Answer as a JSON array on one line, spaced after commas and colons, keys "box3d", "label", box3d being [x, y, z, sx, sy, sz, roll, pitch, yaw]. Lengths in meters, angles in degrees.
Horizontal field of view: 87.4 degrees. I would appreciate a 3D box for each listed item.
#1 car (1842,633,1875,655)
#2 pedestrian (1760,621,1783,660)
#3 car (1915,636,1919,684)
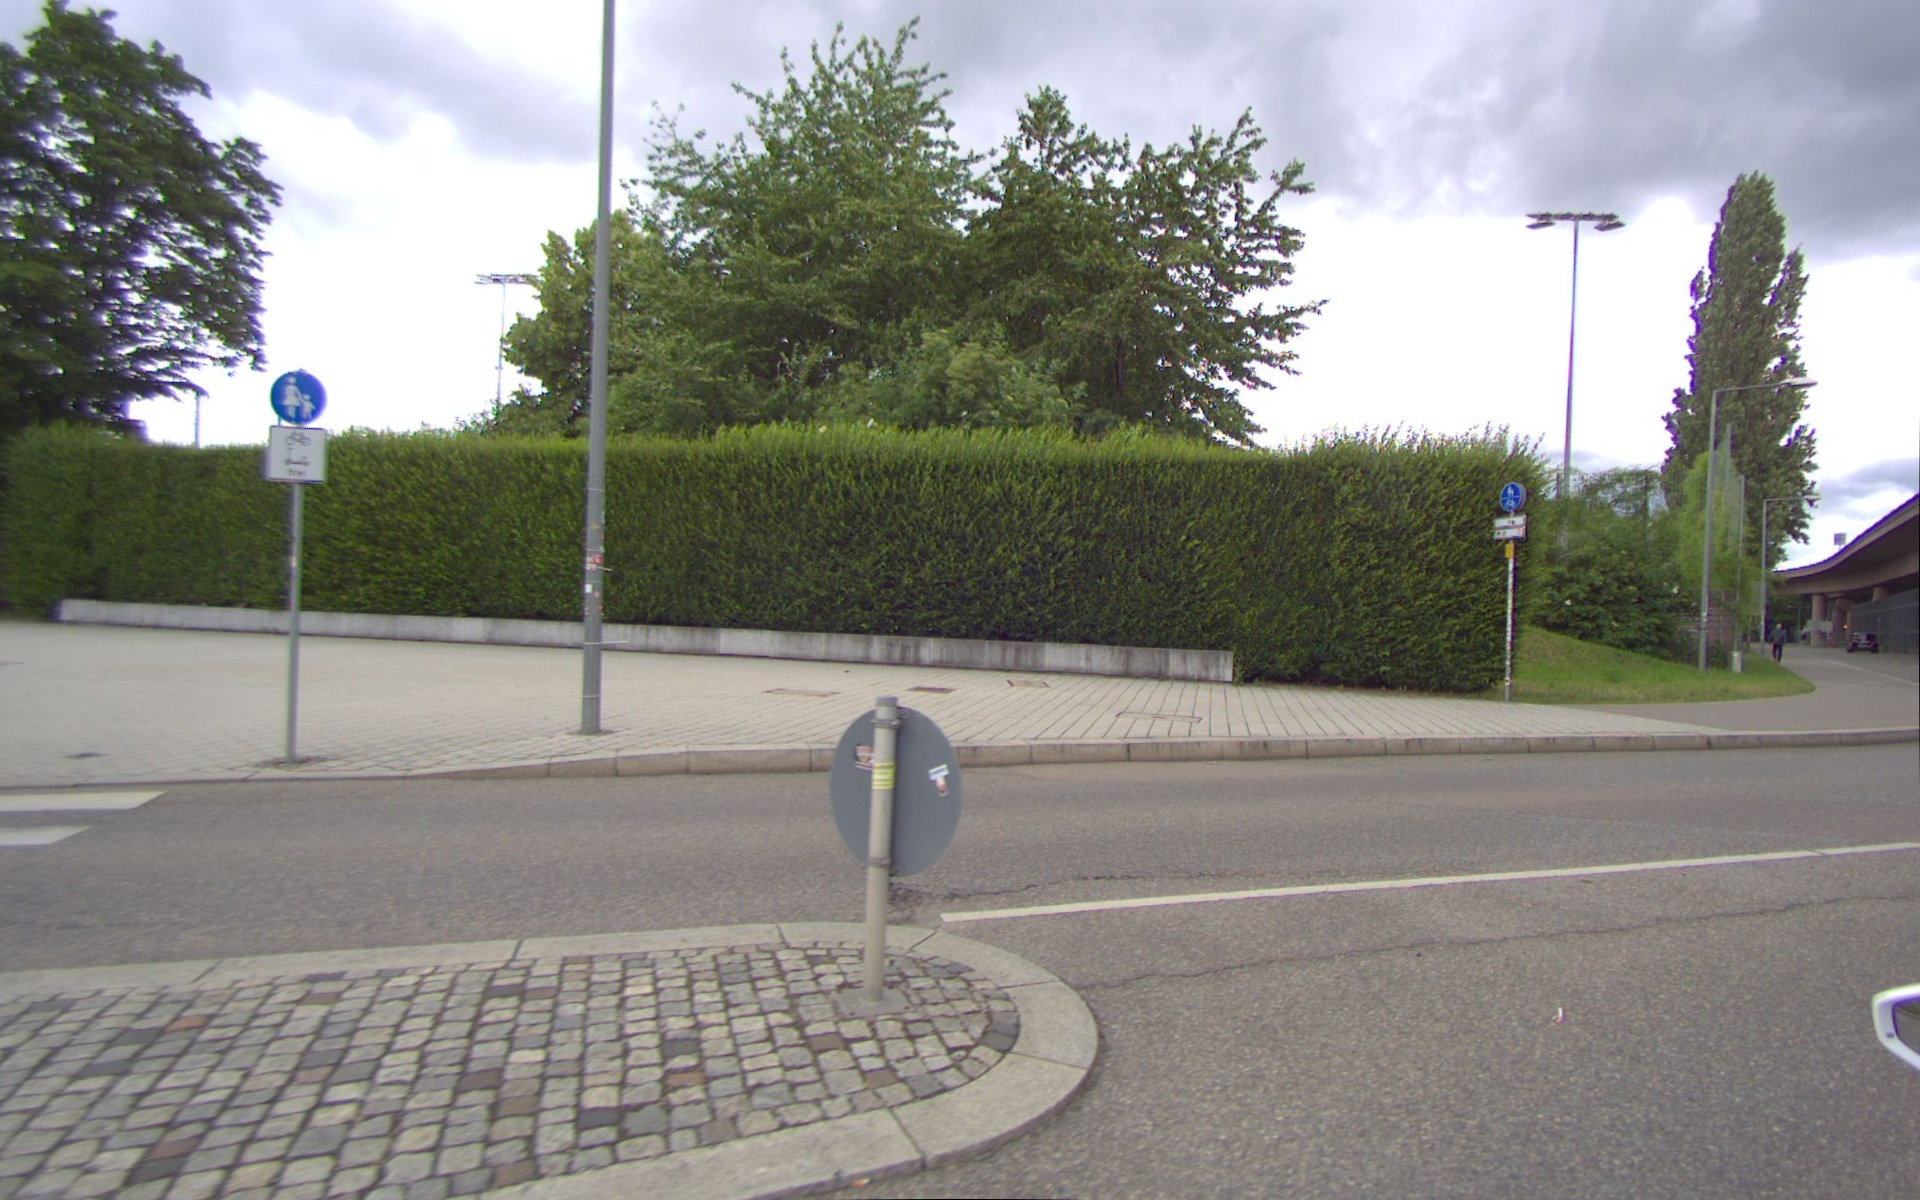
[{"box3d": [78.893, 3.869, 88.232, 1.816, 1.734, 3.690, 1, 0, 38], "label": "car"}, {"box3d": [38.903, 1.933, 48.148, 0.793, 1.805, 0.916, 1, 1, 38], "label": "pedestrian"}, {"box3d": [34.109, 2.079, 34.070, 1.840, 1.706, 4.391, 1, -2, 35], "label": "car"}]
